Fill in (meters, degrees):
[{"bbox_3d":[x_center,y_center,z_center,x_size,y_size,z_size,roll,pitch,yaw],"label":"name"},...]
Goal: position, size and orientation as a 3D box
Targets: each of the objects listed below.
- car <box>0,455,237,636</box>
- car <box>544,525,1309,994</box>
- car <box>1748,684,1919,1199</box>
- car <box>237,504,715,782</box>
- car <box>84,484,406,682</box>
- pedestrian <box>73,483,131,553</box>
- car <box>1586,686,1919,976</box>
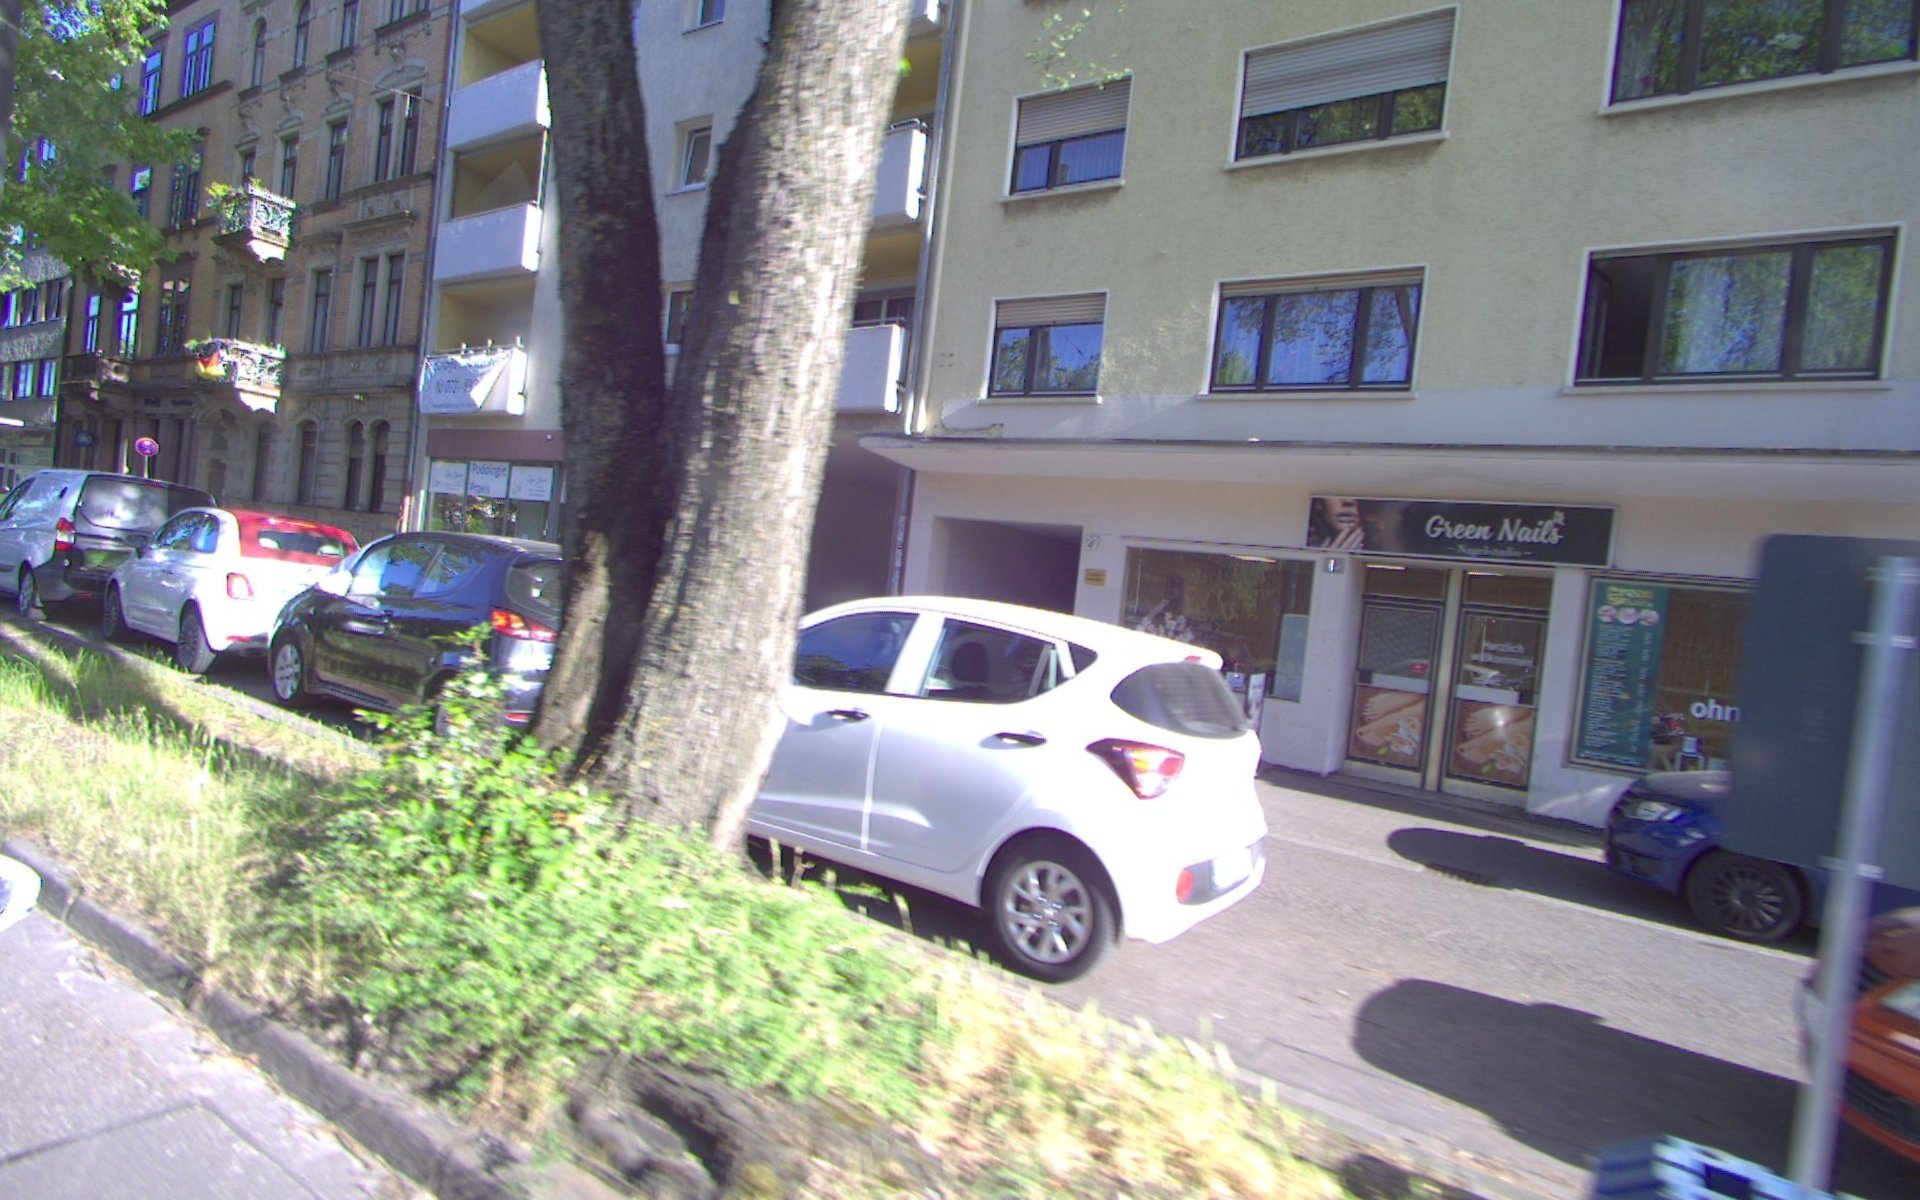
[{"bbox_3d":[-10.500,-0.715,12.051,4.076,1.687,1.627,7,-1,36],"label":"car"},{"bbox_3d":[-0.271,0.600,5.369,3.636,1.494,1.629,7,-1,31],"label":"car"},{"bbox_3d":[4.506,1.238,2.413,3.842,1.451,1.591,7,-1,33],"label":"car"},{"bbox_3d":[-3.826,0.239,7.739,3.727,1.503,1.563,7,-1,35],"label":"car"},{"bbox_3d":[-7.224,-0.212,10.076,3.438,1.497,1.513,7,-1,37],"label":"car"},{"bbox_3d":[-24.901,-2.374,29.201,0.704,1.863,1.000,7,1,35],"label":"pedestrian"},{"bbox_3d":[6.718,1.668,6.897,3.933,1.500,1.694,7,3,31],"label":"car"}]
